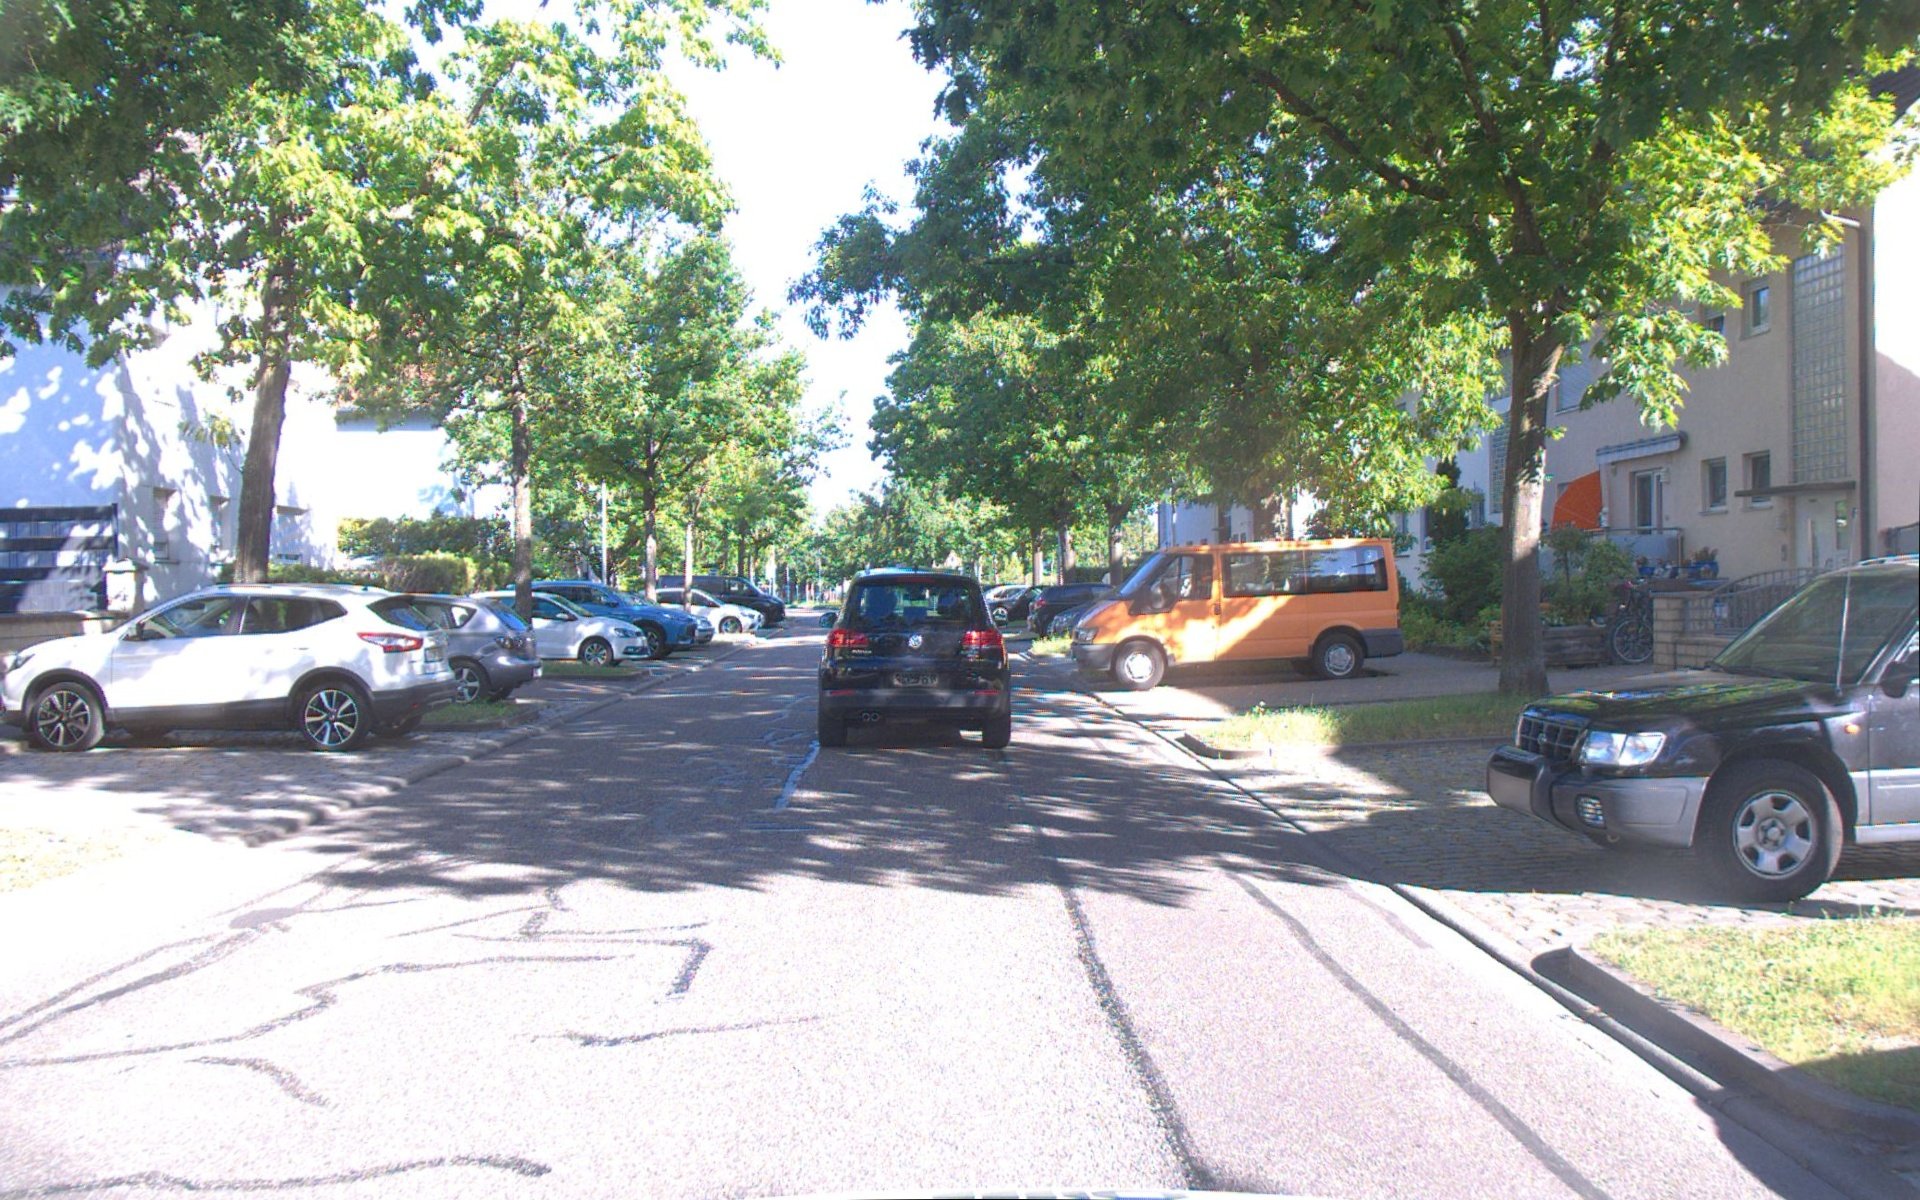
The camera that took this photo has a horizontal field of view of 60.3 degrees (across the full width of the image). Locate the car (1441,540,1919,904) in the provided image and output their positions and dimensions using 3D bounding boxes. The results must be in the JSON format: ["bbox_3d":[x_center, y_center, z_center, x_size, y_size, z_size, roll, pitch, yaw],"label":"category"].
[{"bbox_3d":[4.901,0.495,8.520,4.251,1.587,1.867,-2,0,-2],"label":"car"}]

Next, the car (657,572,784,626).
[{"bbox_3d":[-9.177,-0.053,63.654,4.685,1.950,2.017,-1,1,-5],"label":"car"}]

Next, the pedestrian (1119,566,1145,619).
[{"bbox_3d":[6.139,-0.254,58.956,0.818,1.860,0.710,-1,-1,-1],"label":"pedestrian"}]

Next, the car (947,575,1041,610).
[{"bbox_3d":[1.586,-0.356,78.842,4.340,1.517,1.796,-2,0,-3],"label":"car"}]

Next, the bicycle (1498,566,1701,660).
[{"bbox_3d":[9.449,0.193,24.474,2.801,1.258,0.468,-2,0,-1],"label":"bicycle"}]

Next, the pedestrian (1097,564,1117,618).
[{"bbox_3d":[5.234,-0.329,59.031,0.596,1.906,0.923,-1,-1,-1],"label":"pedestrian"}]

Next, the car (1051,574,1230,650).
[{"bbox_3d":[4.167,0.284,38.544,3.907,1.652,1.756,-1,-1,-3],"label":"car"}]

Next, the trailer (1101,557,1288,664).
[{"bbox_3d":[4.133,0.191,29.408,2.890,1.693,1.612,-3,-1,-8],"label":"trailer"}]

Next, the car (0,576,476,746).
[{"bbox_3d":[-7.270,0.585,16.892,4.102,1.594,1.792,1,0,0],"label":"car"}]

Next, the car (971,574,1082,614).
[{"bbox_3d":[2.589,-0.236,65.171,4.191,1.439,1.796,-2,0,-3],"label":"car"}]

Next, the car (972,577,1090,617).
[{"bbox_3d":[2.647,-0.106,62.433,4.259,1.386,1.872,-2,0,-3],"label":"car"}]

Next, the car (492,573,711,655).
[{"bbox_3d":[-7.864,0.307,36.587,4.433,1.660,1.937,-1,-1,-2],"label":"car"}]

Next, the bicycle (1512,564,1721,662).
[{"bbox_3d":[9.504,0.187,23.979,2.801,1.259,0.468,-3,-1,-1],"label":"bicycle"}]

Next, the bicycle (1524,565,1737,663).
[{"bbox_3d":[9.509,0.194,23.492,2.801,1.259,0.468,-2,-1,-1],"label":"bicycle"}]

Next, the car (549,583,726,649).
[{"bbox_3d":[-8.026,0.397,41.392,4.098,1.518,1.646,-1,-1,-2],"label":"car"}]

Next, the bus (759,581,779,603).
[{"bbox_3d":[-27.310,-1.163,236.436,2.873,3.056,5.728,-1,-1,-7],"label":"bus"}]

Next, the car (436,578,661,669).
[{"bbox_3d":[-7.921,0.448,32.105,3.906,1.623,1.857,-1,-1,-2],"label":"car"}]

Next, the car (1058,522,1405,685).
[{"bbox_3d":[3.938,0.041,24.574,4.721,2.119,2.085,-2,0,-2],"label":"car"}]

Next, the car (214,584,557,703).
[{"bbox_3d":[-7.609,0.560,22.205,3.953,1.448,1.809,1,0,-3],"label":"car"}]

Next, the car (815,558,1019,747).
[{"bbox_3d":[-0.375,0.462,16.618,1.800,1.665,3.958,0,0,0],"label":"car"}]

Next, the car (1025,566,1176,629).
[{"bbox_3d":[3.670,-0.061,43.635,3.804,1.542,1.660,-1,-1,-2],"label":"car"}]

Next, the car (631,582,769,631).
[{"bbox_3d":[-8.327,0.190,53.190,4.190,1.504,1.768,1,0,-3],"label":"car"}]
